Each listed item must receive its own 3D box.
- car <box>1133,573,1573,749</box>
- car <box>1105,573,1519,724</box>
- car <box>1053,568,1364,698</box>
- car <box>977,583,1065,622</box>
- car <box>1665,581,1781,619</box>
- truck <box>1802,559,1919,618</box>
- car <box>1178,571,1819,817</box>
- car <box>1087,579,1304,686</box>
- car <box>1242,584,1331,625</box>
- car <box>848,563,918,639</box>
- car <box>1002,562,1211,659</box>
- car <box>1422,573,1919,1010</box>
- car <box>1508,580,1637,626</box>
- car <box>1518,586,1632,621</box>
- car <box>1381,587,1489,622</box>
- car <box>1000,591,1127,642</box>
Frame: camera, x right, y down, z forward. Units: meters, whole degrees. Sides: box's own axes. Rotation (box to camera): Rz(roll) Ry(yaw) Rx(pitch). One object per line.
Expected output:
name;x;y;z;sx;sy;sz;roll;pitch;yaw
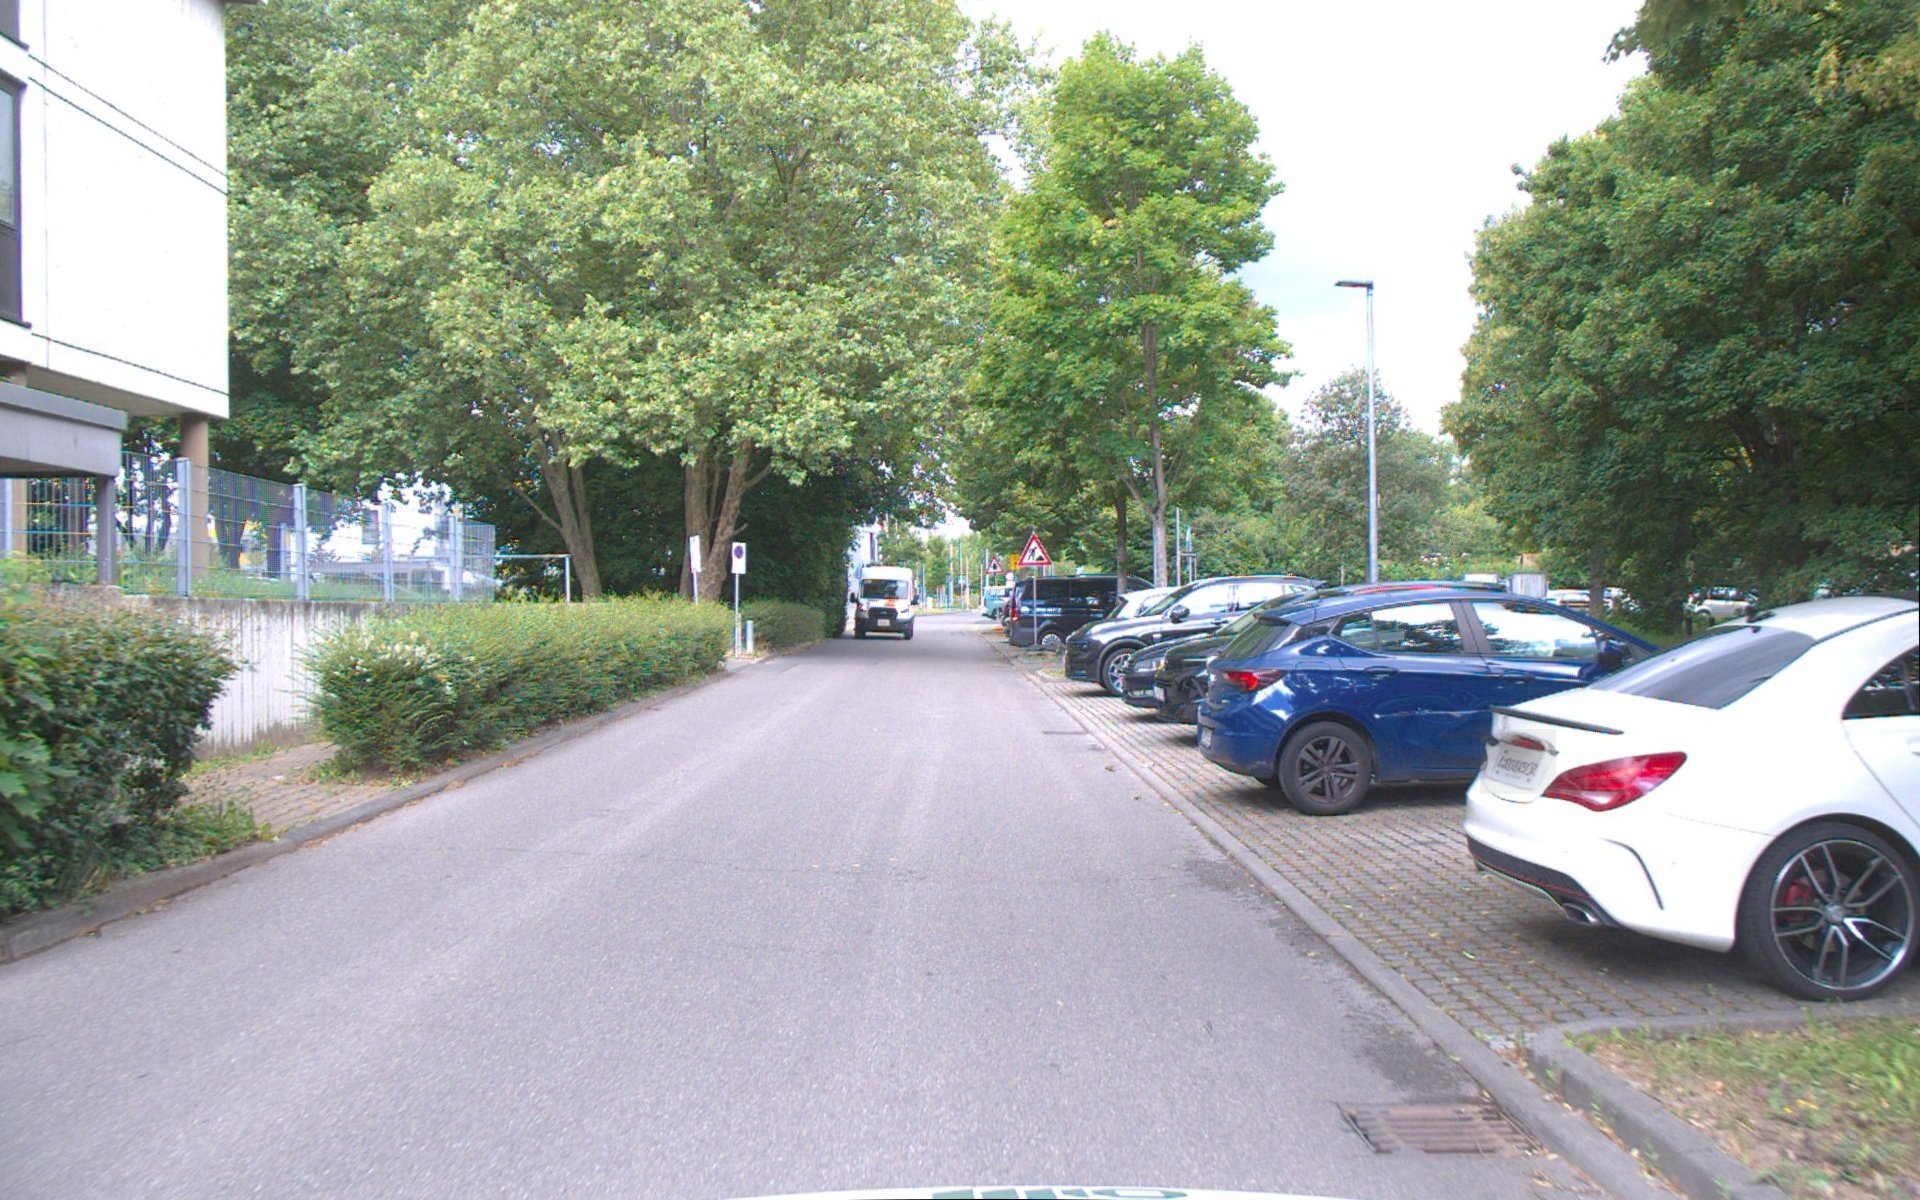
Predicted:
car;3.938;0.584;16.989;3.993;1.544;1.849;-2;0;-5
car;4.113;0.542;19.902;4.541;1.543;1.983;-2;1;1
car;3.668;0.465;25.018;4.326;1.705;2.082;-2;1;-1
car;3.429;0.133;93.803;4.871;2.006;1.847;-2;0;0
car;32.803;-0.003;71.211;4.192;1.553;1.704;-1;0;6
truck;39.230;-0.483;70.656;5.390;2.468;2.194;-1;-1;6
car;3.709;0.623;11.943;3.989;1.482;1.851;-2;0;0
car;3.880;0.517;27.643;3.310;1.602;1.796;-2;0;-1
car;14.334;0.193;72.808;3.699;1.697;1.769;-1;0;6
car;-2.665;0.018;58.801;2.088;2.519;6.277;1;0;1
car;3.523;0.248;40.469;4.853;2.048;2.166;-3;0;0
car;4.370;0.615;6.768;4.394;1.480;1.846;-2;0;-1
car;28.365;0.144;76.721;5.206;2.093;2.139;-1;0;5
car;26.660;0.163;71.766;4.334;1.453;1.704;-1;0;6
car;20.714;0.216;72.245;4.299;1.453;1.704;-1;0;5
car;3.302;0.541;53.224;3.906;1.455;1.935;-2;-1;-1
